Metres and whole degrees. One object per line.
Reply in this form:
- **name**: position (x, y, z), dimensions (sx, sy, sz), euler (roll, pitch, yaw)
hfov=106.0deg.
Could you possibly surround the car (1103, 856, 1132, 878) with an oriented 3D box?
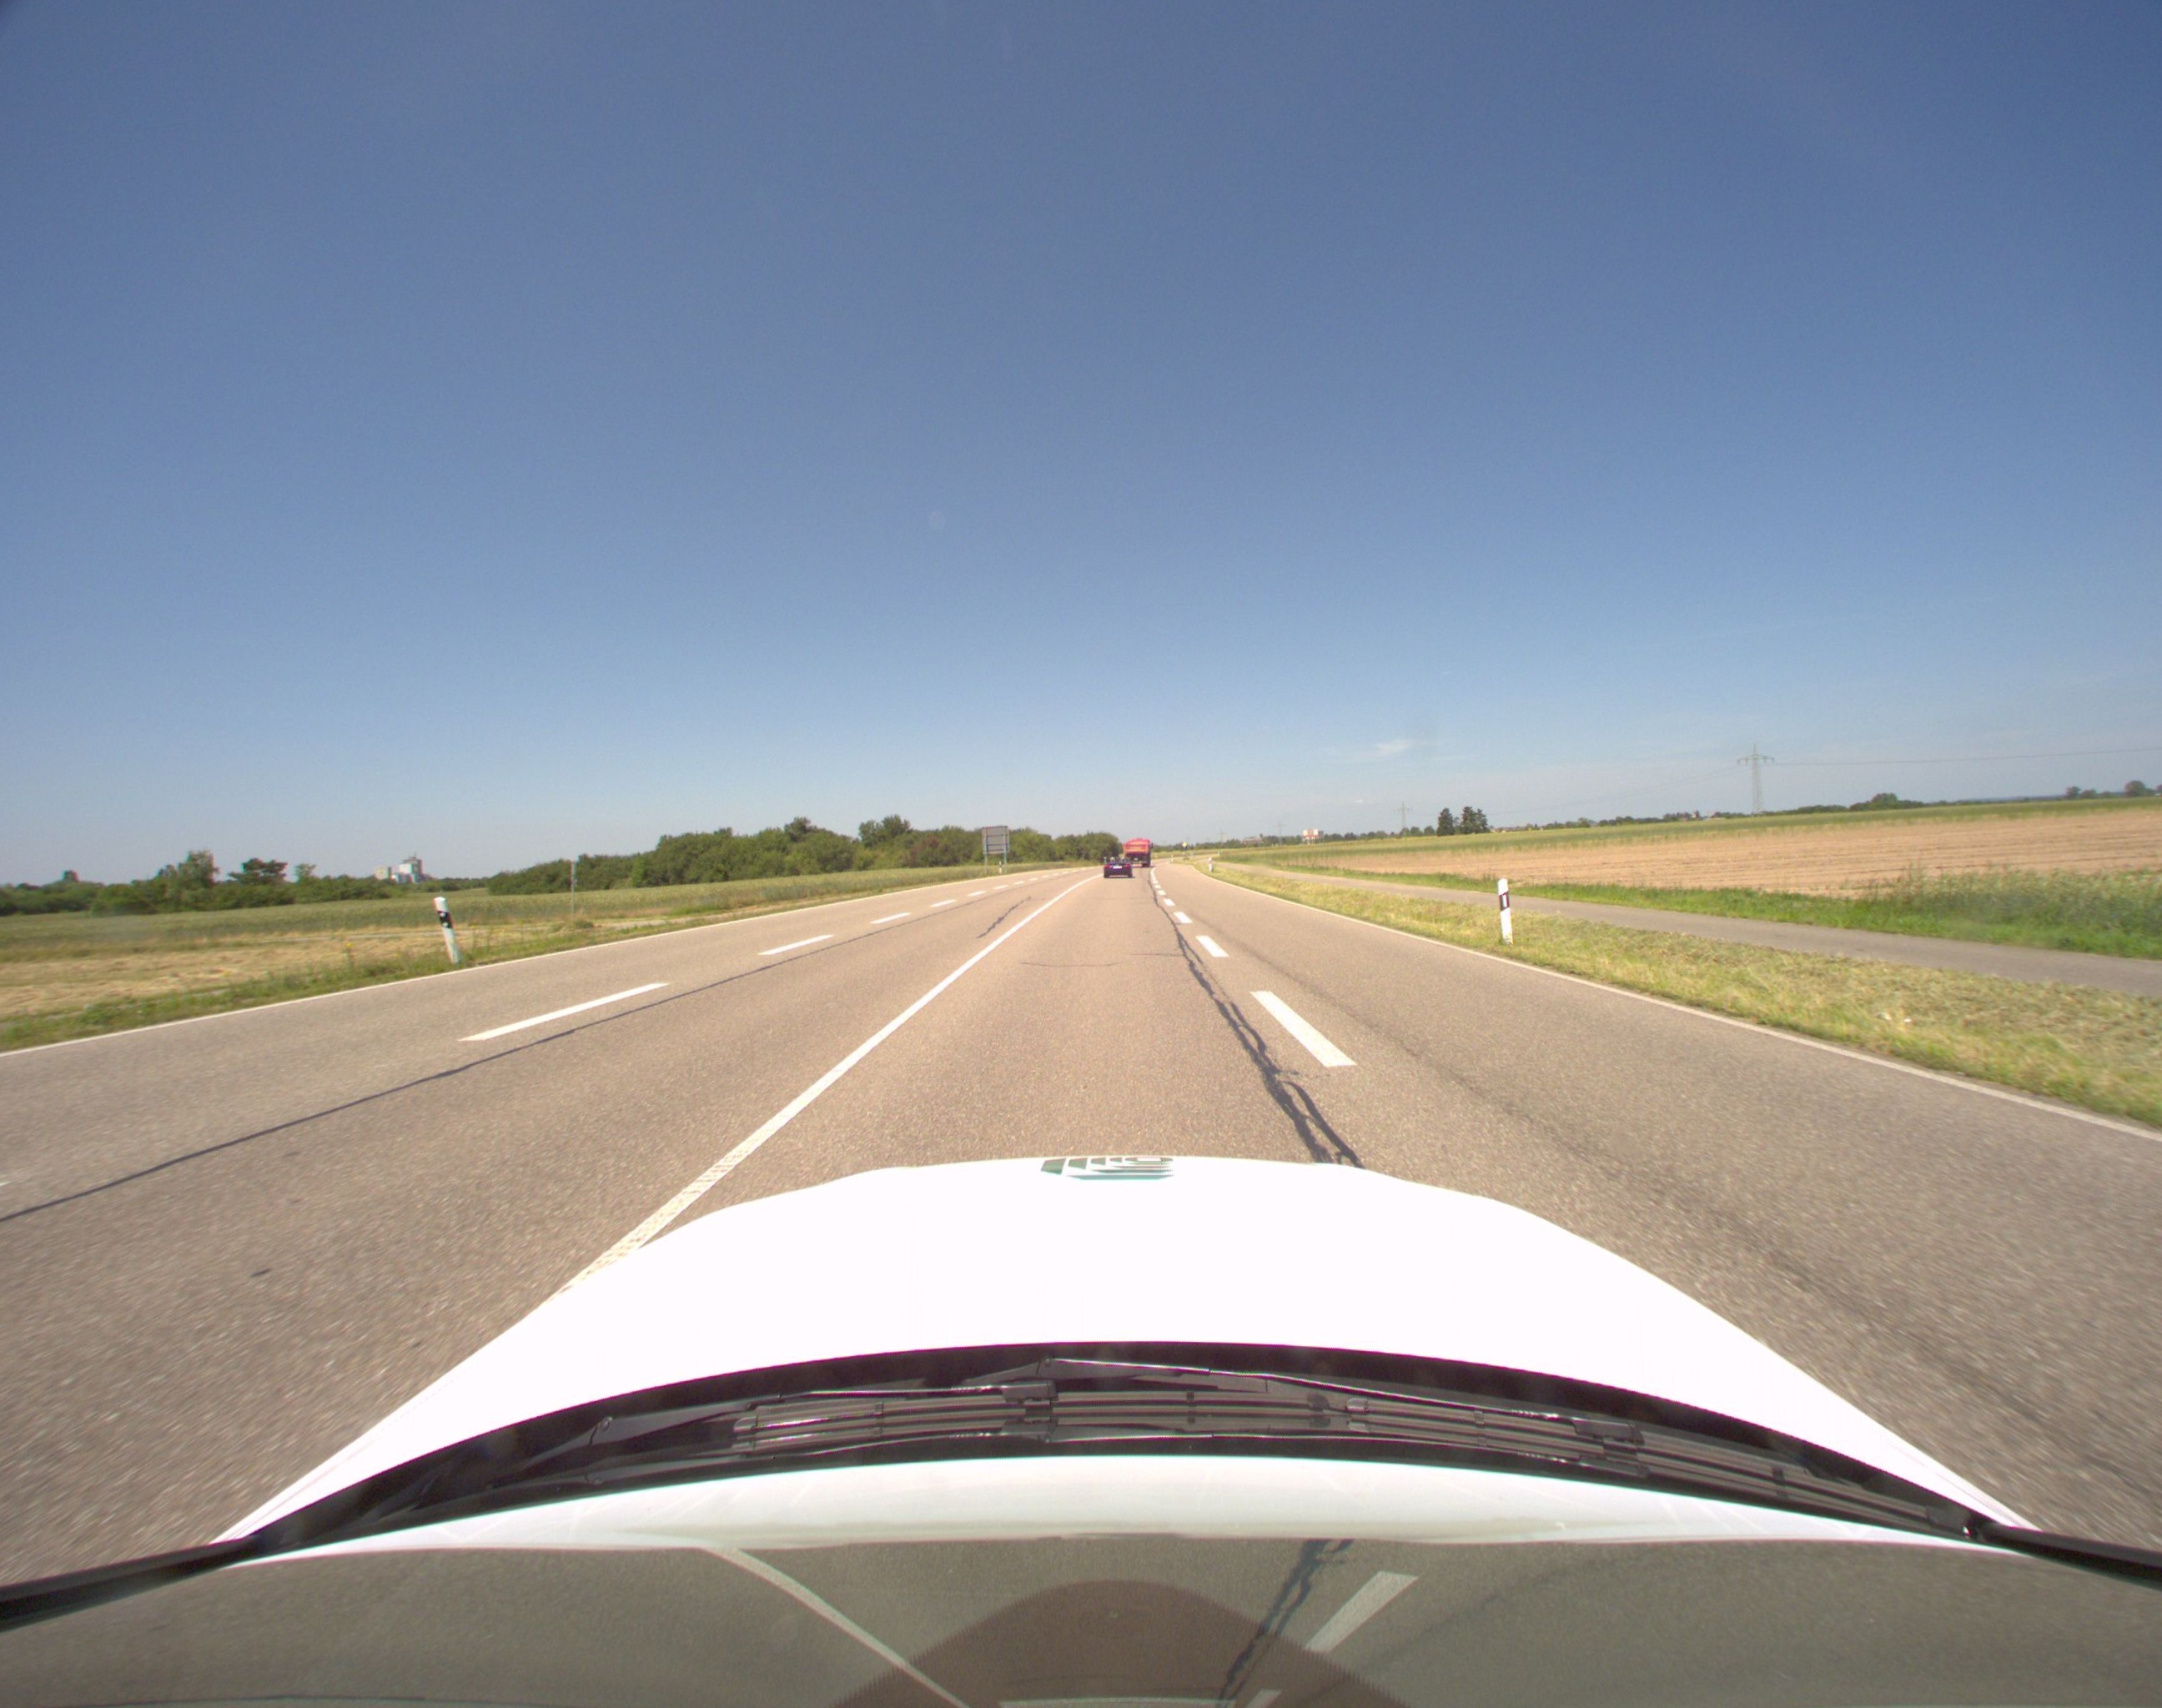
- **car**: position (2.275, 0.810, 51.698), dimensions (1.737, 1.280, 4.002), euler (-1, 0, 2)

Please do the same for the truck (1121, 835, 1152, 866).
- **truck**: position (6.054, -0.367, 87.265), dimensions (2.923, 3.089, 7.208), euler (-2, 0, 6)
